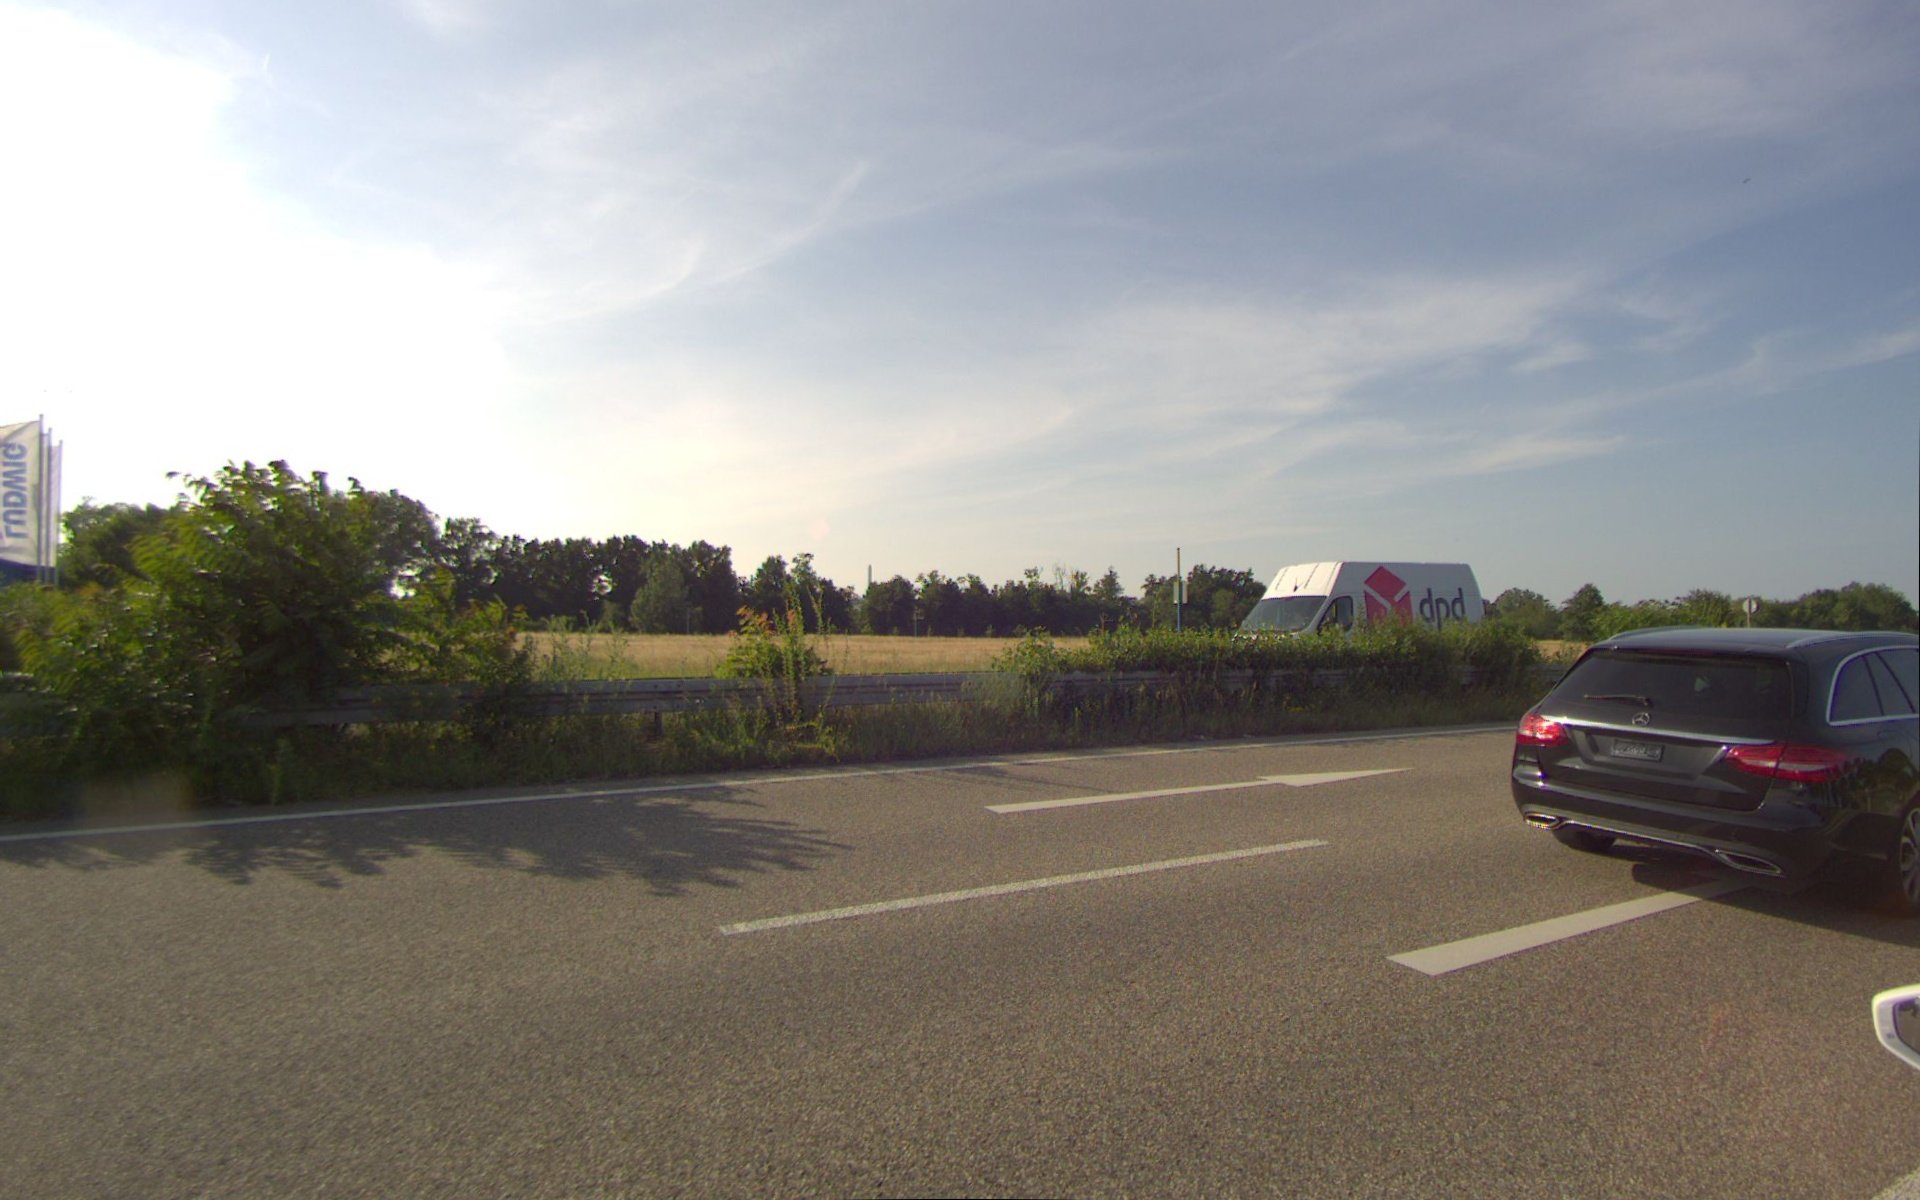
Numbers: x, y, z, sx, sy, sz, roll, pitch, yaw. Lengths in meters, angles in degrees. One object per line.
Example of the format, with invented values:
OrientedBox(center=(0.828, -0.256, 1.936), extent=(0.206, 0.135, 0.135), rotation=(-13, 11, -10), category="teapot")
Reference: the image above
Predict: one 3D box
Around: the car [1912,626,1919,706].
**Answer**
OrientedBox(center=(20.300, 1.276, 19.325), extent=(4.720, 1.490, 1.638), rotation=(1, -1, -30), category="car")

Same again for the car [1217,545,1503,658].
OrientedBox(center=(8.439, 0.110, 20.942), extent=(6.250, 2.062, 2.151), rotation=(2, 0, -31), category="car")

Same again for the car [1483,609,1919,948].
OrientedBox(center=(5.548, 0.837, 6.361), extent=(4.963, 1.490, 1.565), rotation=(1, -1, -30), category="car")
